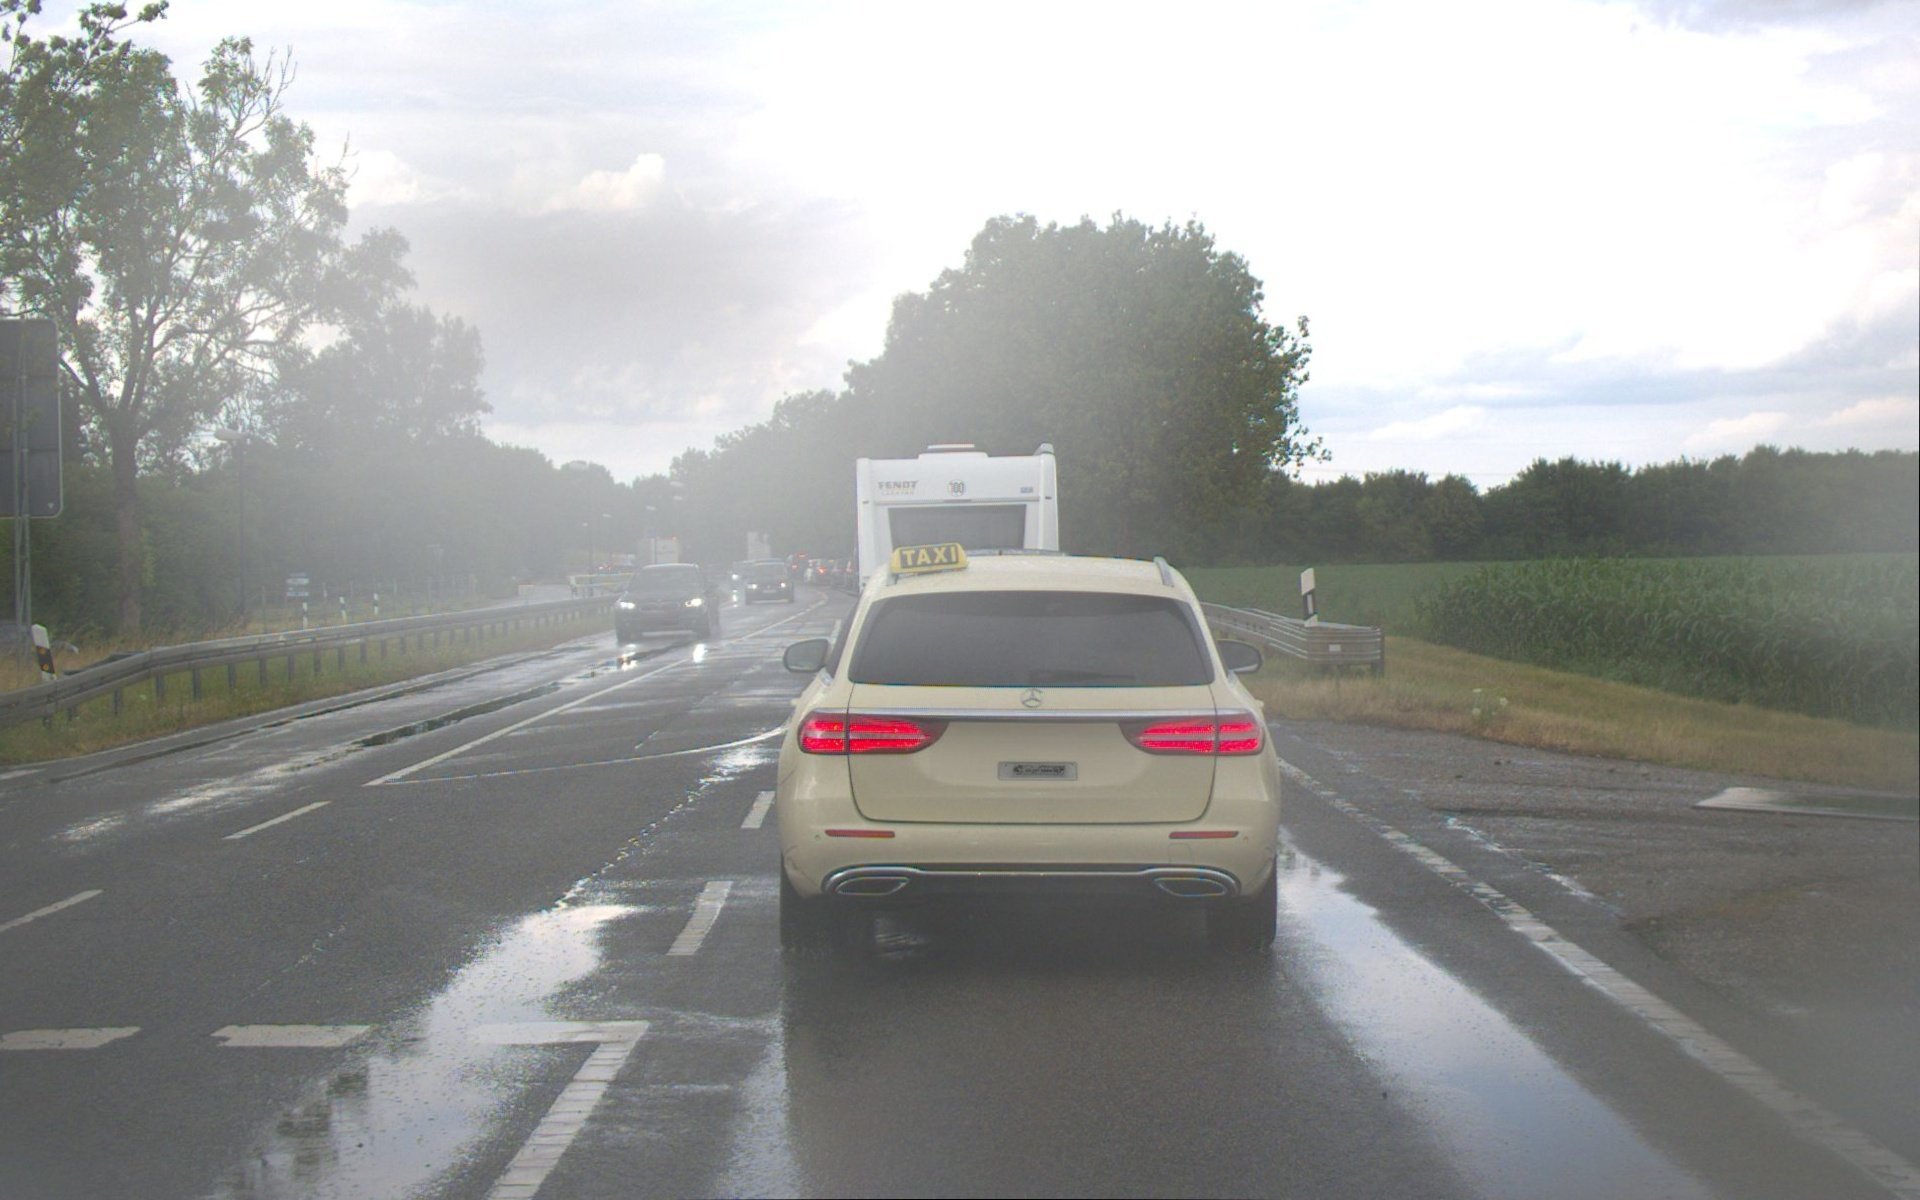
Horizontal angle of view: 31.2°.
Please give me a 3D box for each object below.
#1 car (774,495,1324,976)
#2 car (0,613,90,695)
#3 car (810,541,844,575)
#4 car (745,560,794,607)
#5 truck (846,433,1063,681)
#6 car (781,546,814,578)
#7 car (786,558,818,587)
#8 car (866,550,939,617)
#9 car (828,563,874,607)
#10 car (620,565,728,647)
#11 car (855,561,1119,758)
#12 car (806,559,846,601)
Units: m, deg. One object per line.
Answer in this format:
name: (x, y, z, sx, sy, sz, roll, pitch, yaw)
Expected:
car: (0.279, 0.436, 13.569, 1.842, 1.612, 4.000, 0, 1, -1)
car: (-19.864, 1.077, 70.589, 2.302, 1.542, 4.631, 1, 0, 8)
car: (-7.352, -2.322, 190.660, 1.740, 1.853, 3.785, -1, 1, -1)
car: (-6.744, -0.603, 122.094, 1.580, 1.634, 3.442, -1, 1, -1)
truck: (-0.097, -0.527, 42.005, 2.363, 2.719, 7.314, -1, 1, -1)
car: (-9.902, -2.319, 208.996, 1.895, 1.888, 3.844, -1, 1, -3)
car: (-9.188, -1.633, 200.136, 1.748, 1.656, 3.673, 0, 1, -4)
car: (-1.610, -0.488, 97.347, 1.915, 1.834, 3.795, -1, 1, 1)
car: (-4.518, -0.646, 143.007, 1.791, 1.771, 3.721, -1, 1, -1)
car: (-5.725, 0.107, 69.215, 1.828, 1.568, 4.000, 1, 0, 0)
car: (0.189, 0.442, 28.561, 1.993, 1.457, 4.000, 2, 0, -1)
car: (-6.617, -1.009, 170.004, 1.852, 2.007, 3.811, -1, 1, -1)
